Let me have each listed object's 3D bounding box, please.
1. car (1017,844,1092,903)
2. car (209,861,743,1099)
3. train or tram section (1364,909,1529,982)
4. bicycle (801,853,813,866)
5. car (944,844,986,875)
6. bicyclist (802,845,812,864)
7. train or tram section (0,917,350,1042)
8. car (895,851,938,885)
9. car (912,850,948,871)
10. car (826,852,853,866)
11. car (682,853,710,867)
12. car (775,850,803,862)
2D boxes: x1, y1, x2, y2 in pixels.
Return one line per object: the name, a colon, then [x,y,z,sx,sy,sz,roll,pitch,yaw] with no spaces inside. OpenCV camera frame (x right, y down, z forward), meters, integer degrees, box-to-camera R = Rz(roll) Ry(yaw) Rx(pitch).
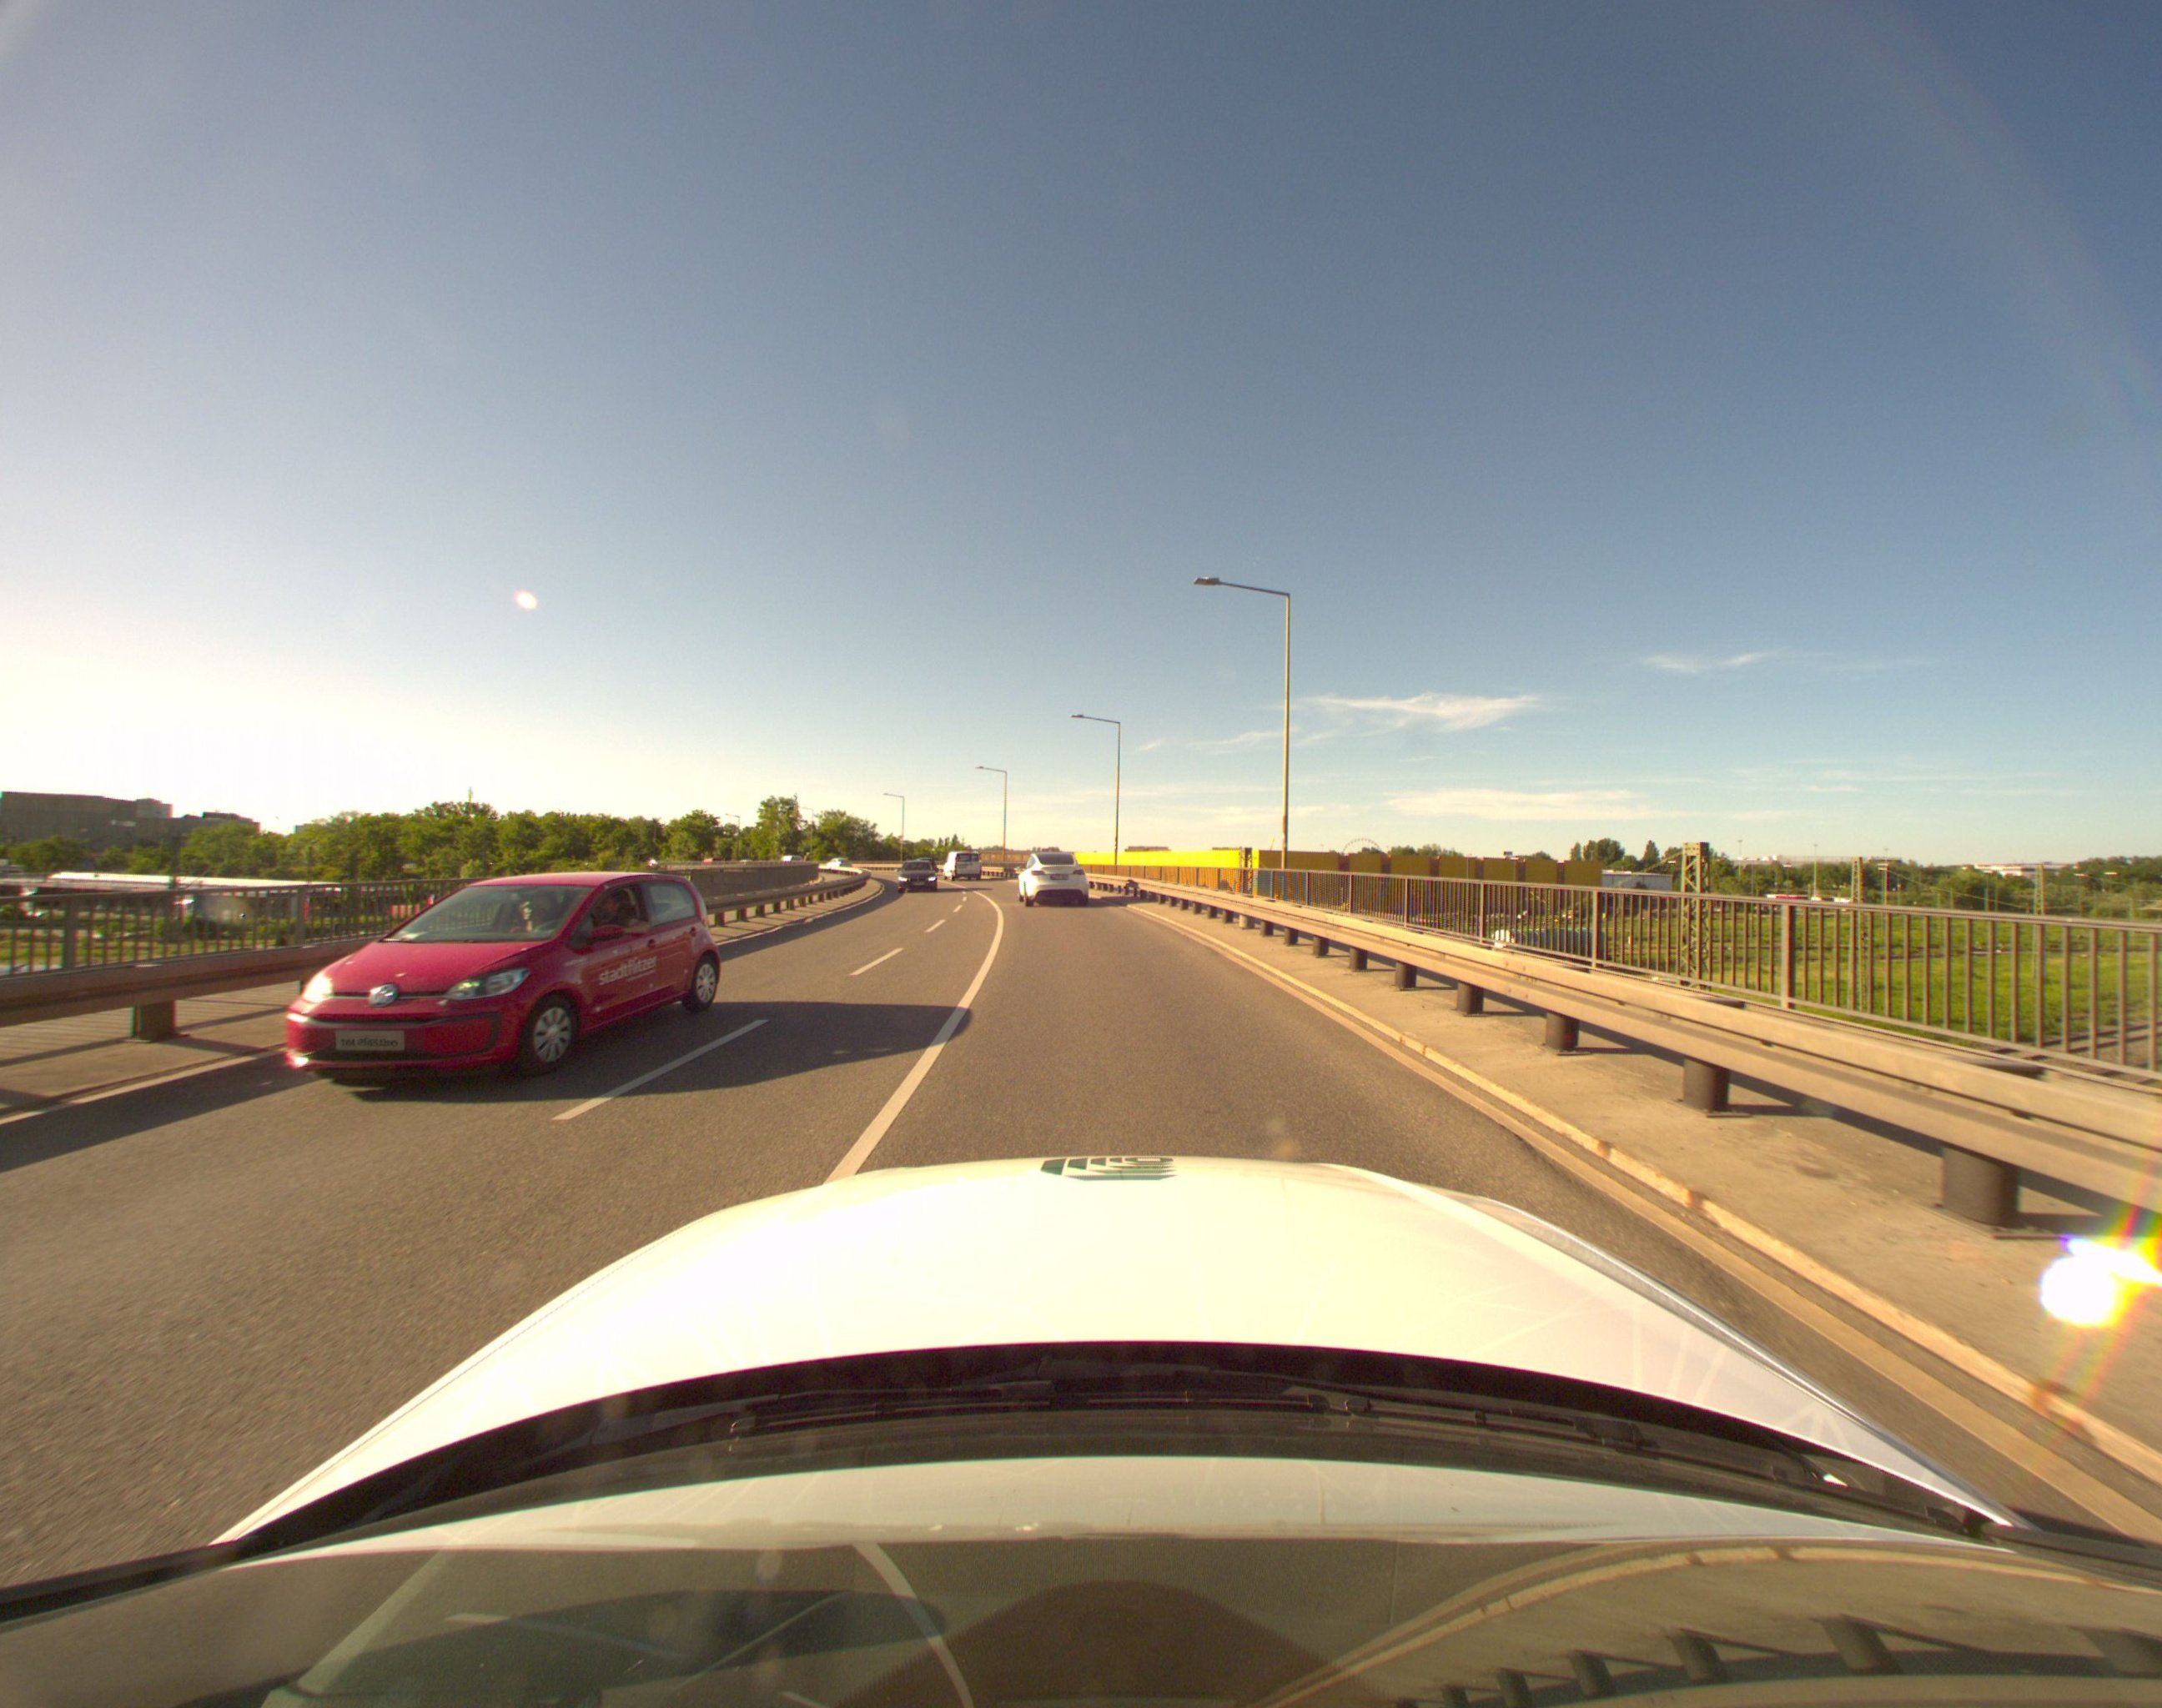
car: [-0.921,0.556,25.676,1.983,1.637,4.053,-2,0,-7]
car: [-4.712,0.830,7.200,1.776,1.437,3.875,-1,0,0]
train or tram section: [33.548,8.125,74.322,16.905,5.261,3.310,-1,0,-24]
bicycle: [-23.865,0.458,71.011,0.657,1.065,1.872,-1,0,-29]
car: [-7.643,0.339,53.278,2.011,1.940,4.440,-1,0,-18]
bicyclist: [-23.856,0.054,70.984,0.657,1.589,0.761,-1,0,-29]
train or tram section: [-45.082,5.694,37.256,16.792,4.591,3.875,-1,0,-24]
car: [-7.707,0.603,38.100,1.875,1.439,4.303,-1,0,-12]
car: [-12.613,0.574,67.819,1.978,1.637,3.968,-2,0,-24]
car: [-27.573,0.553,92.993,1.873,1.585,3.873,-1,0,-34]
car: [-56.958,0.874,120.435,3.948,1.950,1.975,-1,0,36]
car: [-38.136,0.270,106.220,3.844,1.555,1.853,-1,0,42]
